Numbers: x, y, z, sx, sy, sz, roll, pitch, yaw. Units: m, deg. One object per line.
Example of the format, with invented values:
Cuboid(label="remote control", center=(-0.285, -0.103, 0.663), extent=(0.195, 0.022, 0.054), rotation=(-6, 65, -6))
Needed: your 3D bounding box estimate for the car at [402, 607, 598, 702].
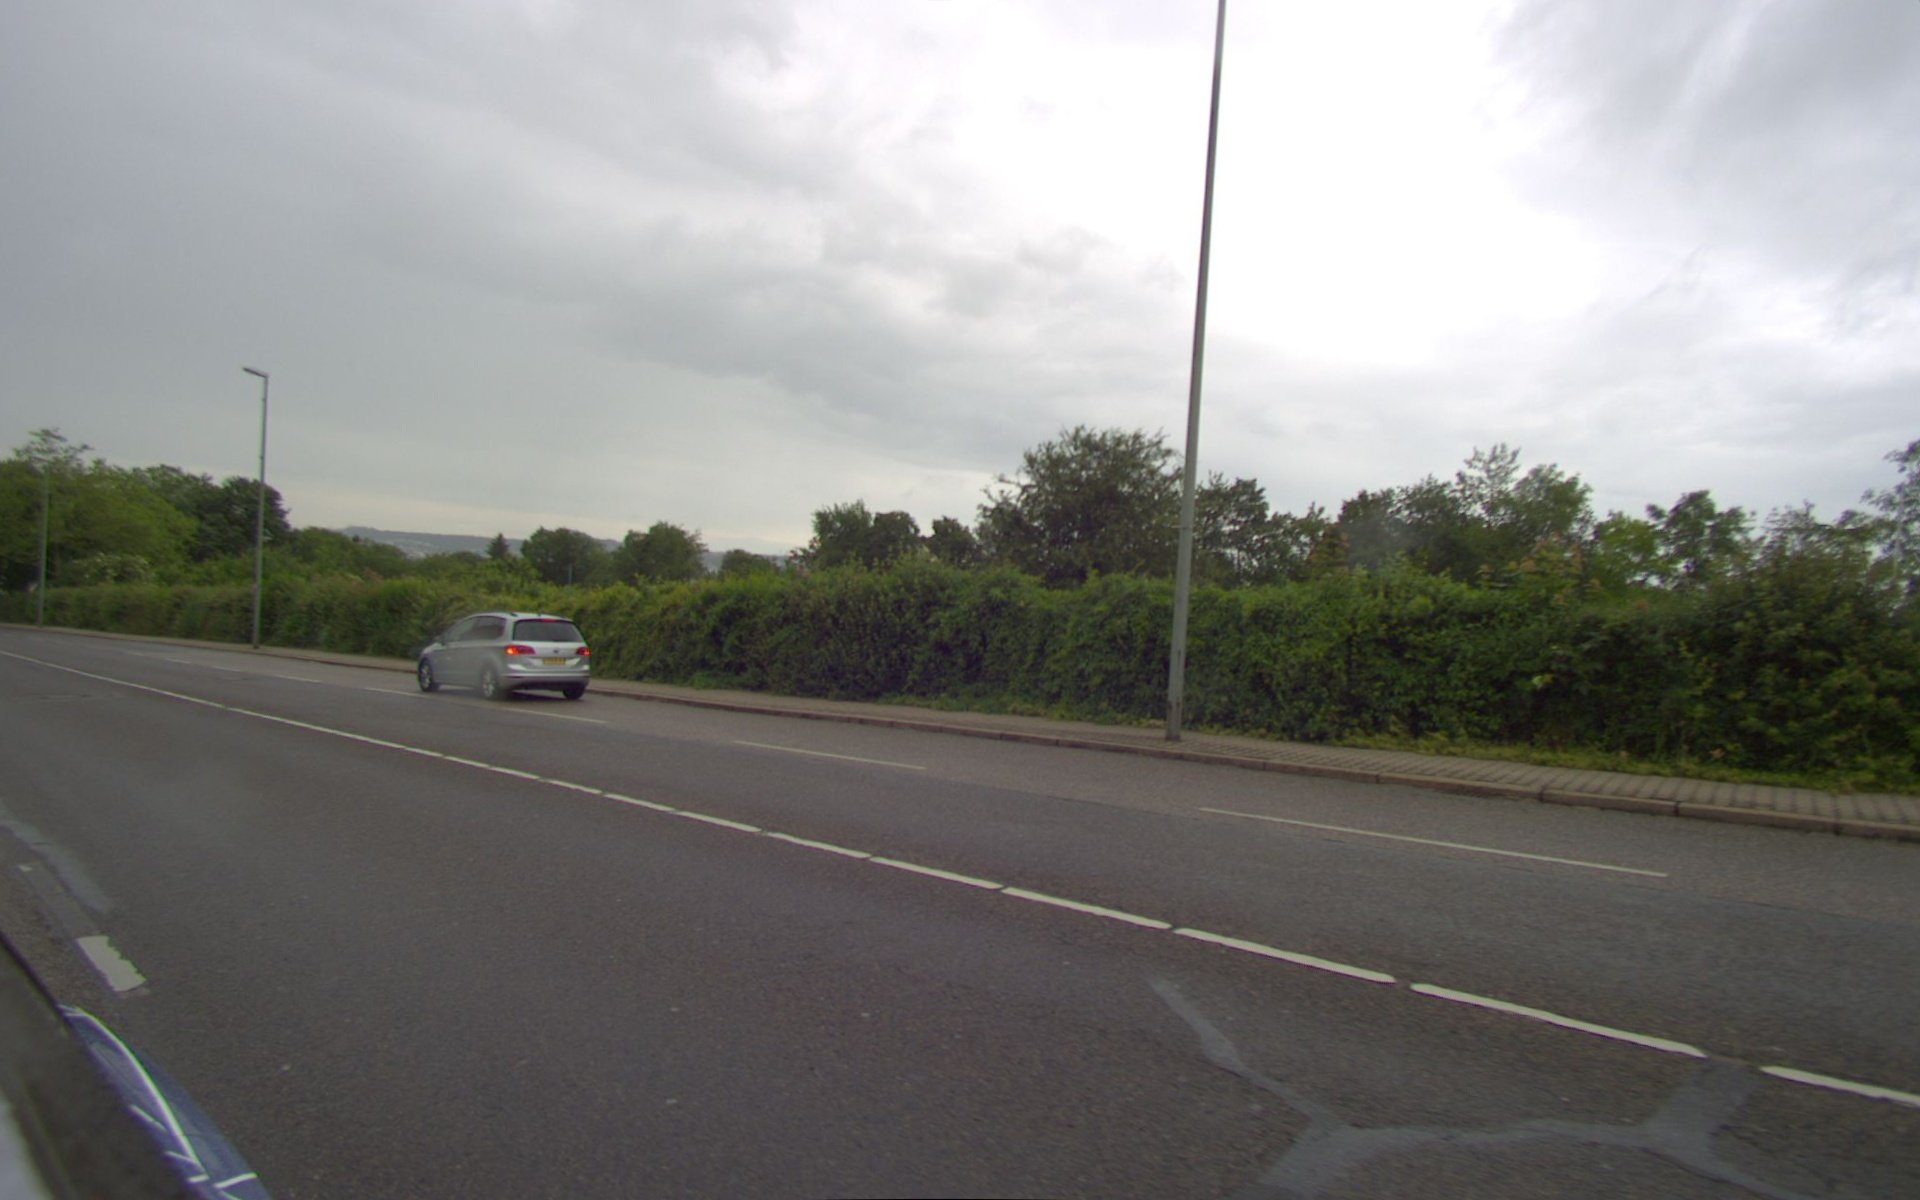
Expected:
Cuboid(label="car", center=(-8.649, 0.958, 18.913), extent=(3.997, 1.580, 1.738), rotation=(0, -3, 40))
